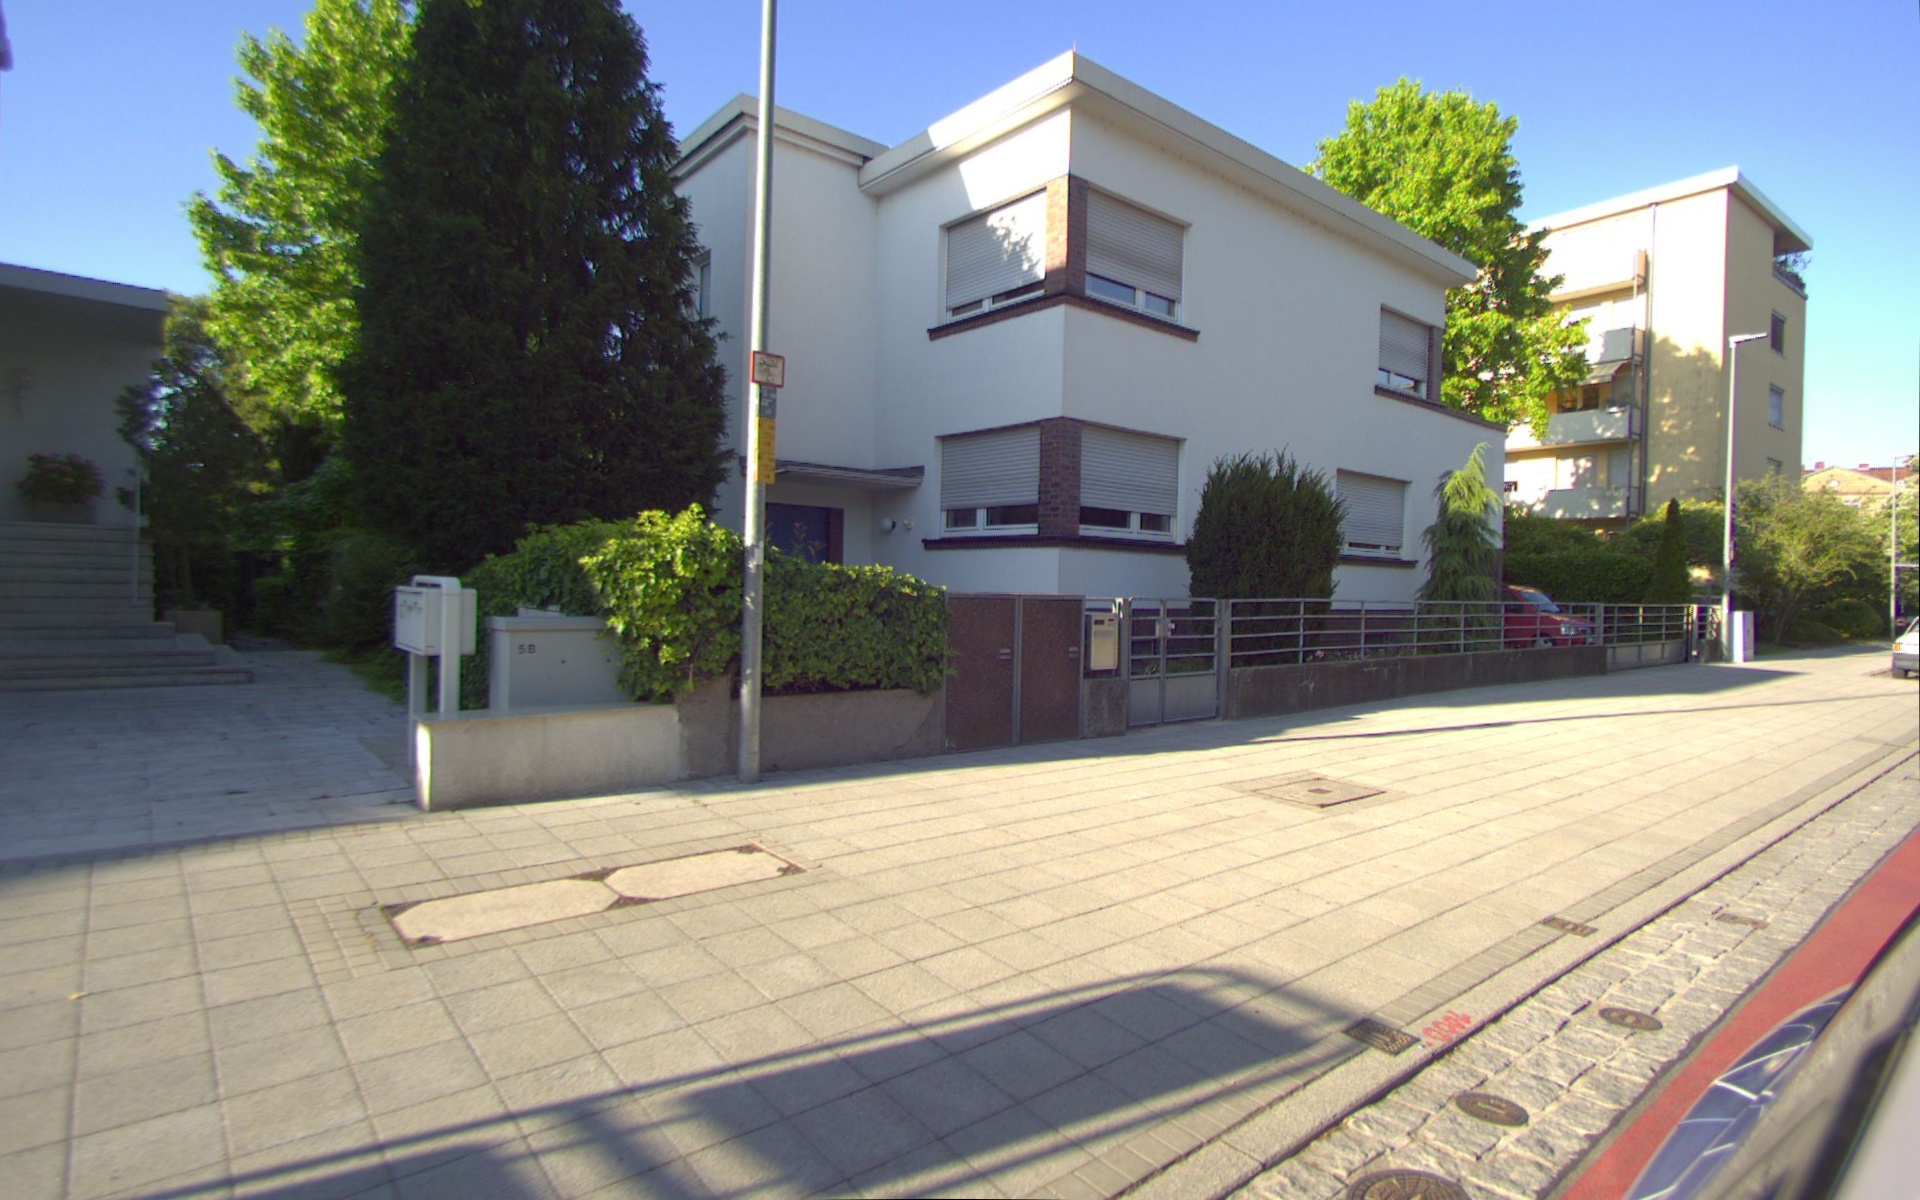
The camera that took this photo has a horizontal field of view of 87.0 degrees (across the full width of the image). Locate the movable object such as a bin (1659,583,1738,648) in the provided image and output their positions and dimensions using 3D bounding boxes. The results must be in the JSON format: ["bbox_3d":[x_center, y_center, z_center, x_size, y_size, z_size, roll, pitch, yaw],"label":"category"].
[{"bbox_3d":[17.071,0.326,23.403,1.102,1.450,1.240,0,0,-38],"label":"movable object such as a bin"}]

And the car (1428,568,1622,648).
[{"bbox_3d":[12.690,0.143,22.909,1.611,1.662,3.507,0,1,-32],"label":"car"}]

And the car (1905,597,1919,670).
[{"bbox_3d":[20.584,0.680,20.492,4.296,1.407,1.567,0,2,-40],"label":"car"}]
